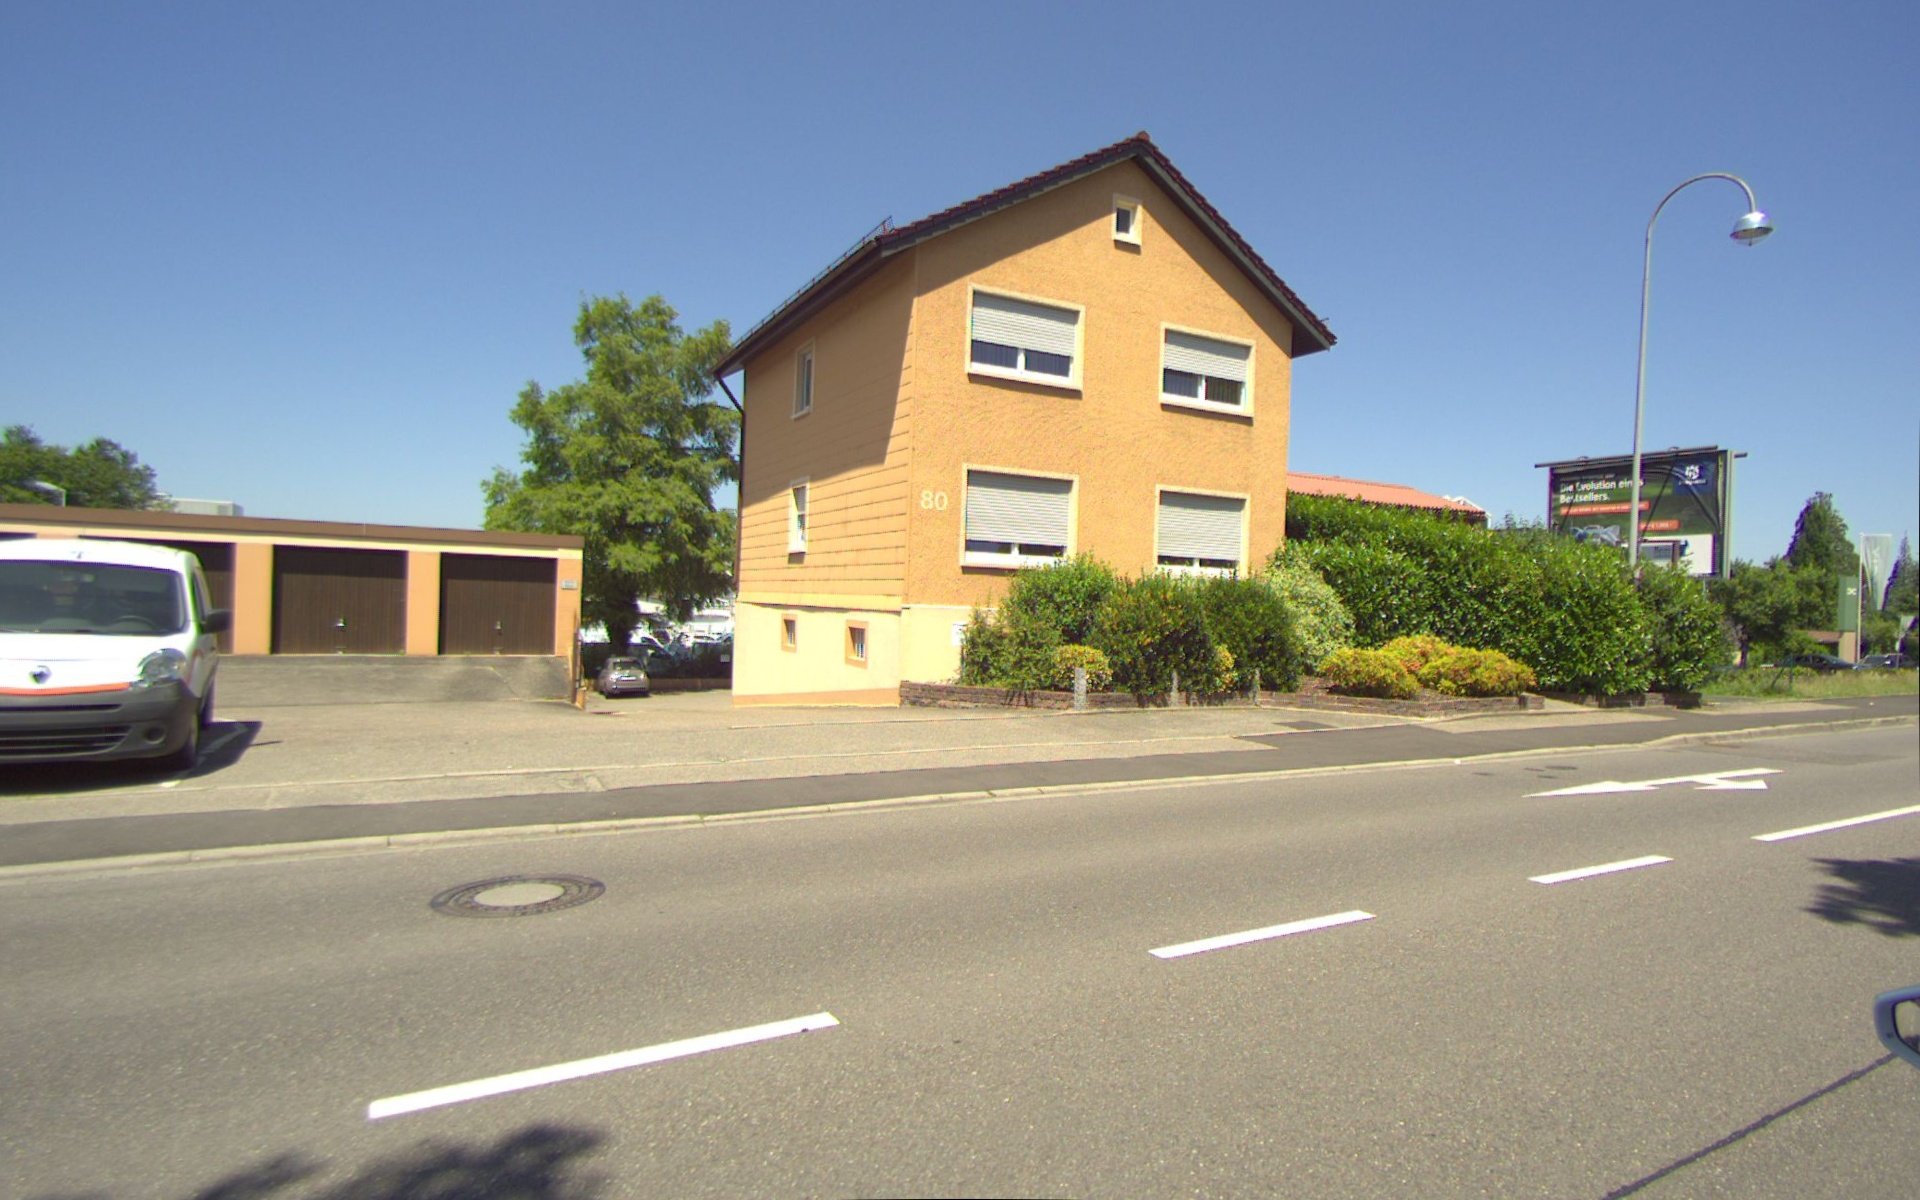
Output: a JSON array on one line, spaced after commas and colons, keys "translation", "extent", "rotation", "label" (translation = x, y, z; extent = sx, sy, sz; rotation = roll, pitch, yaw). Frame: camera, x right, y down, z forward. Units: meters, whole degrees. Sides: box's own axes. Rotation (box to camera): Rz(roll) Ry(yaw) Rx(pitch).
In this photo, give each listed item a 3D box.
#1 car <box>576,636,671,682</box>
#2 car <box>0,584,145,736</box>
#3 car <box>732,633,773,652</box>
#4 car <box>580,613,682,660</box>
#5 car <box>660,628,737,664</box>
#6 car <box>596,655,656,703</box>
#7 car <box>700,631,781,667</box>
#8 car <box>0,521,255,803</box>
[{"translation": [-15.957, 2.780, 47.702], "extent": [3.953, 2.040, 1.984], "rotation": [2, -1, -30], "label": "car"}, {"translation": [-11.705, 0.634, 12.492], "extent": [1.809, 1.589, 3.967], "rotation": [1, 1, -30], "label": "car"}, {"translation": [-18.274, 3.782, 88.457], "extent": [3.088, 1.553, 1.673], "rotation": [2, -1, -29], "label": "car"}, {"translation": [-17.583, 1.943, 53.767], "extent": [4.853, 2.354, 1.984], "rotation": [2, -1, -30], "label": "car"}, {"translation": [-13.794, 2.425, 53.017], "extent": [3.557, 1.761, 1.629], "rotation": [2, -1, -30], "label": "car"}, {"translation": [-13.134, 3.037, 39.375], "extent": [1.707, 1.563, 3.795], "rotation": [1, 0, -26], "label": "car"}, {"translation": [-11.136, 2.506, 51.056], "extent": [3.611, 1.699, 1.800], "rotation": [2, -1, -30], "label": "car"}, {"translation": [-7.446, 0.416, 8.711], "extent": [1.979, 1.923, 4.069], "rotation": [2, -1, -33], "label": "car"}]
